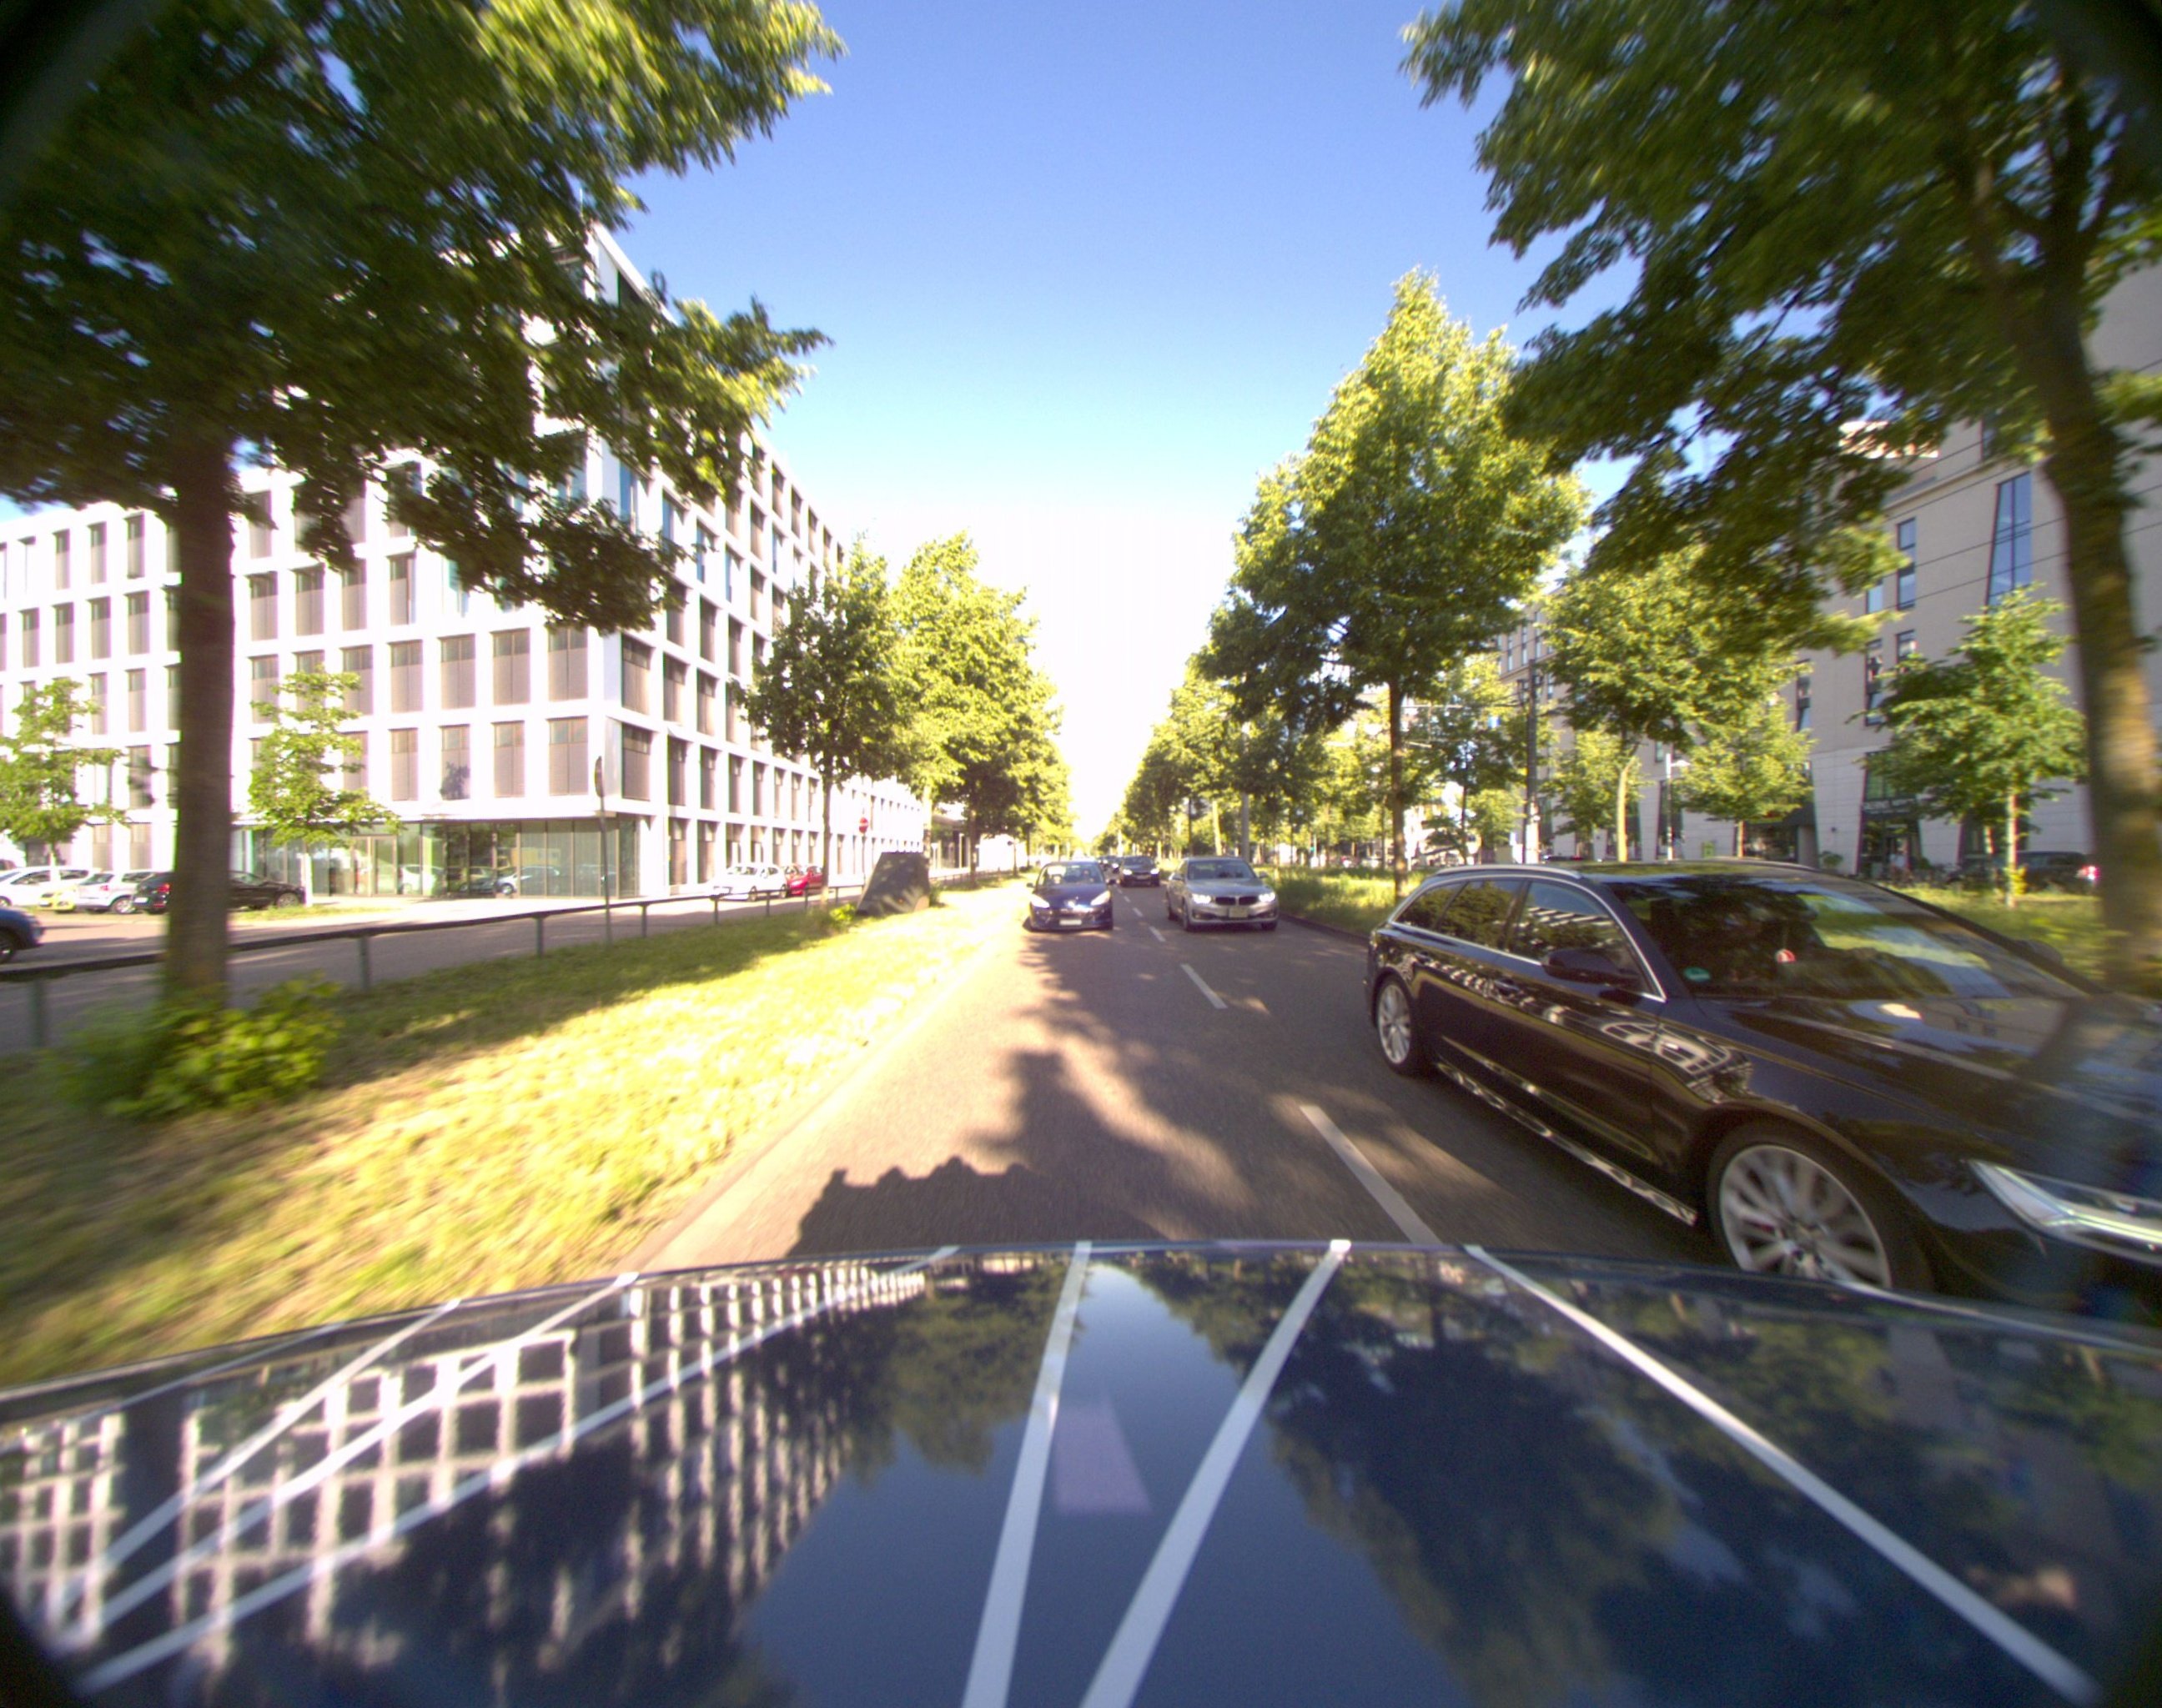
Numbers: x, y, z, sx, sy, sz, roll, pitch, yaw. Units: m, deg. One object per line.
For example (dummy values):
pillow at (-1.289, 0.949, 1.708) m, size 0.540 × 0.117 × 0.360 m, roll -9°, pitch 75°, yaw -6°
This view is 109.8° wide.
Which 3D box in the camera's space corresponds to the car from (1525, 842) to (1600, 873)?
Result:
car at (32.019, 0.226, 50.689) m, size 1.999 × 2.002 × 4.553 m, roll -1°, pitch 0°, yaw -2°

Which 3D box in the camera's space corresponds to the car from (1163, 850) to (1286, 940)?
car at (2.911, 0.760, 16.349) m, size 1.886 × 1.569 × 4.277 m, roll -2°, pitch 1°, yaw 1°

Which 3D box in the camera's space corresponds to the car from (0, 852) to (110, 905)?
car at (-42.800, 0.993, 30.620) m, size 1.996 × 2.002 × 4.004 m, roll -2°, pitch 1°, yaw 17°

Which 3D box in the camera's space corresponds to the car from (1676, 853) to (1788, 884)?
car at (31.992, 0.678, 37.540) m, size 1.728 × 1.405 × 4.336 m, roll -1°, pitch 0°, yaw -2°

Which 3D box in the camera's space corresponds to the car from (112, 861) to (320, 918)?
car at (-28.471, 1.112, 25.203) m, size 1.996 × 1.565 × 4.004 m, roll -2°, pitch 1°, yaw 17°

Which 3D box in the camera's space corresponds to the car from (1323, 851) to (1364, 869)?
car at (23.572, 0.537, 68.338) m, size 1.999 × 1.433 × 4.454 m, roll -2°, pitch 1°, yaw -2°

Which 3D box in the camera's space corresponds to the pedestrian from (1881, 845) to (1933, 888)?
pedestrian at (34.327, 0.496, 31.597) m, size 0.844 × 1.733 × 1.223 m, roll -2°, pitch 1°, yaw 1°

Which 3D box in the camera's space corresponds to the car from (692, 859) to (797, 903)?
car at (-13.347, 1.020, 30.478) m, size 1.998 × 1.477 × 4.403 m, roll 2°, pitch 1°, yaw 4°

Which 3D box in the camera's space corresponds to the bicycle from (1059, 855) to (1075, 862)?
bicycle at (-1.804, 0.576, 97.822) m, size 1.927 × 0.899 × 0.647 m, roll -1°, pitch 1°, yaw 4°

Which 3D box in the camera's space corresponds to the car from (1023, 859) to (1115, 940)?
car at (-0.168, 0.926, 17.059) m, size 1.766 × 1.462 × 4.000 m, roll -2°, pitch 1°, yaw 2°

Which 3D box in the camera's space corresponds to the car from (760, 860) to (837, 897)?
car at (-13.007, 1.091, 35.260) m, size 1.869 × 1.477 × 4.272 m, roll 2°, pitch 1°, yaw 1°

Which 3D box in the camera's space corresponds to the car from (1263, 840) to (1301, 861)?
car at (23.947, -0.426, 90.740) m, size 2.513 × 2.368 × 6.025 m, roll -2°, pitch 1°, yaw -5°

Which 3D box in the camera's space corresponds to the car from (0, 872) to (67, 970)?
car at (-18.378, 1.055, 11.188) m, size 1.594 × 1.536 × 3.826 m, roll 0°, pitch -1°, yaw 21°

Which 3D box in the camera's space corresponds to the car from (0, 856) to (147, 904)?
car at (-38.074, 0.948, 28.049) m, size 1.996 × 1.587 × 4.004 m, roll -2°, pitch 1°, yaw 17°

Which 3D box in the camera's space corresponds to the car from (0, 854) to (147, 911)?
car at (-40.214, 1.079, 29.773) m, size 1.996 × 2.002 × 4.004 m, roll -2°, pitch 1°, yaw 17°

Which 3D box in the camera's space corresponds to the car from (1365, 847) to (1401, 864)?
car at (33.431, 0.153, 84.357) m, size 2.106 × 1.798 × 4.420 m, roll -2°, pitch 1°, yaw -1°

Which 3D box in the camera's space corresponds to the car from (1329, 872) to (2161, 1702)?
car at (2.959, 0.859, 3.403) m, size 1.958 × 1.471 × 5.085 m, roll -1°, pitch -1°, yaw -1°

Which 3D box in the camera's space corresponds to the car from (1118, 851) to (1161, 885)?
car at (2.867, 0.656, 37.618) m, size 1.950 × 1.514 × 4.000 m, roll -2°, pitch 1°, yaw 3°

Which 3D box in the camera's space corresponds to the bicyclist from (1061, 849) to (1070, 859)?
bicyclist at (-1.976, 0.032, 97.827) m, size 1.086 × 1.315 × 0.639 m, roll -1°, pitch 1°, yaw 4°

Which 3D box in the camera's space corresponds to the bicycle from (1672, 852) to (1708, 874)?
bicycle at (39.117, 0.566, 48.856) m, size 0.663 × 1.317 × 2.336 m, roll -2°, pitch 1°, yaw 7°

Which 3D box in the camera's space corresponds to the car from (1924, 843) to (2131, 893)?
car at (31.173, 0.429, 25.265) m, size 1.562 × 1.471 × 4.271 m, roll -2°, pitch 0°, yaw 0°

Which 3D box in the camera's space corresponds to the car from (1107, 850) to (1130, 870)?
car at (3.233, 0.493, 65.830) m, size 1.782 × 1.571 × 3.783 m, roll -2°, pitch 1°, yaw 1°

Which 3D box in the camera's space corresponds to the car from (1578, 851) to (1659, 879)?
car at (32.039, 0.636, 45.431) m, size 1.999 × 1.563 × 4.000 m, roll -1°, pitch 0°, yaw 0°

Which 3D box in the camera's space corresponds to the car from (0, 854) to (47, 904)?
car at (-45.388, 1.098, 30.530) m, size 1.996 × 2.002 × 4.004 m, roll -2°, pitch 1°, yaw 17°

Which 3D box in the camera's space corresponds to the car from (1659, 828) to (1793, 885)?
car at (25.213, 0.058, 29.916) m, size 1.998 × 2.002 × 4.000 m, roll -2°, pitch 1°, yaw 4°

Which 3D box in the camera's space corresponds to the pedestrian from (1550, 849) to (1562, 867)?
pedestrian at (38.494, 0.326, 61.583) m, size 0.603 × 1.451 × 0.458 m, roll -2°, pitch 1°, yaw 3°

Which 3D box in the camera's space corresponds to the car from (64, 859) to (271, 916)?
car at (-31.082, 1.080, 26.048) m, size 1.996 × 1.674 × 4.004 m, roll -2°, pitch 1°, yaw 17°
